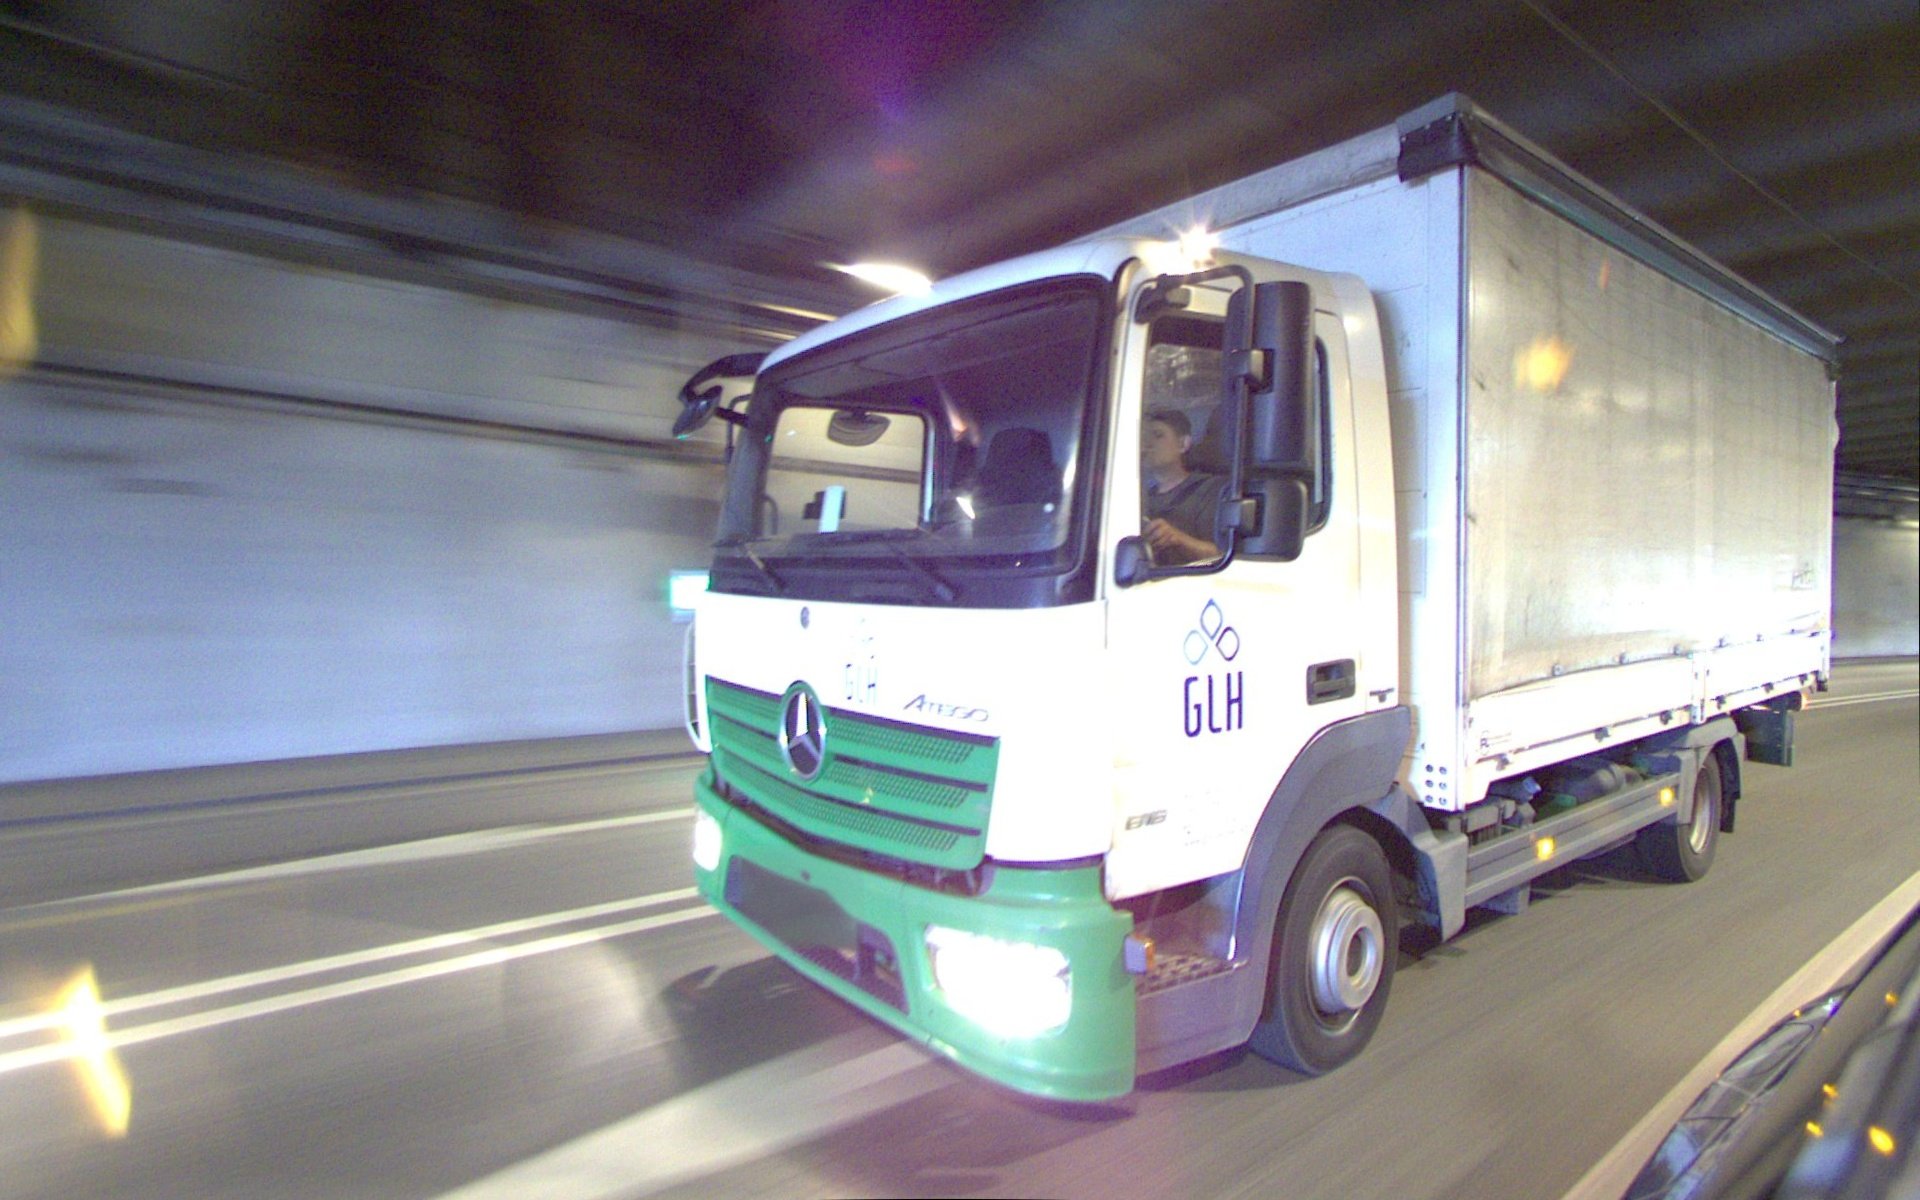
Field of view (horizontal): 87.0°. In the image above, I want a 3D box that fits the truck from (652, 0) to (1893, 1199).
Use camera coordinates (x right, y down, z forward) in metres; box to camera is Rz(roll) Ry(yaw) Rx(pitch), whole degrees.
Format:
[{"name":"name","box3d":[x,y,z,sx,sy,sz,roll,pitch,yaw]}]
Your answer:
[{"name":"truck","box3d":[2.382,-0.257,5.423,7.279,3.280,2.636,0,0,-38]}]
